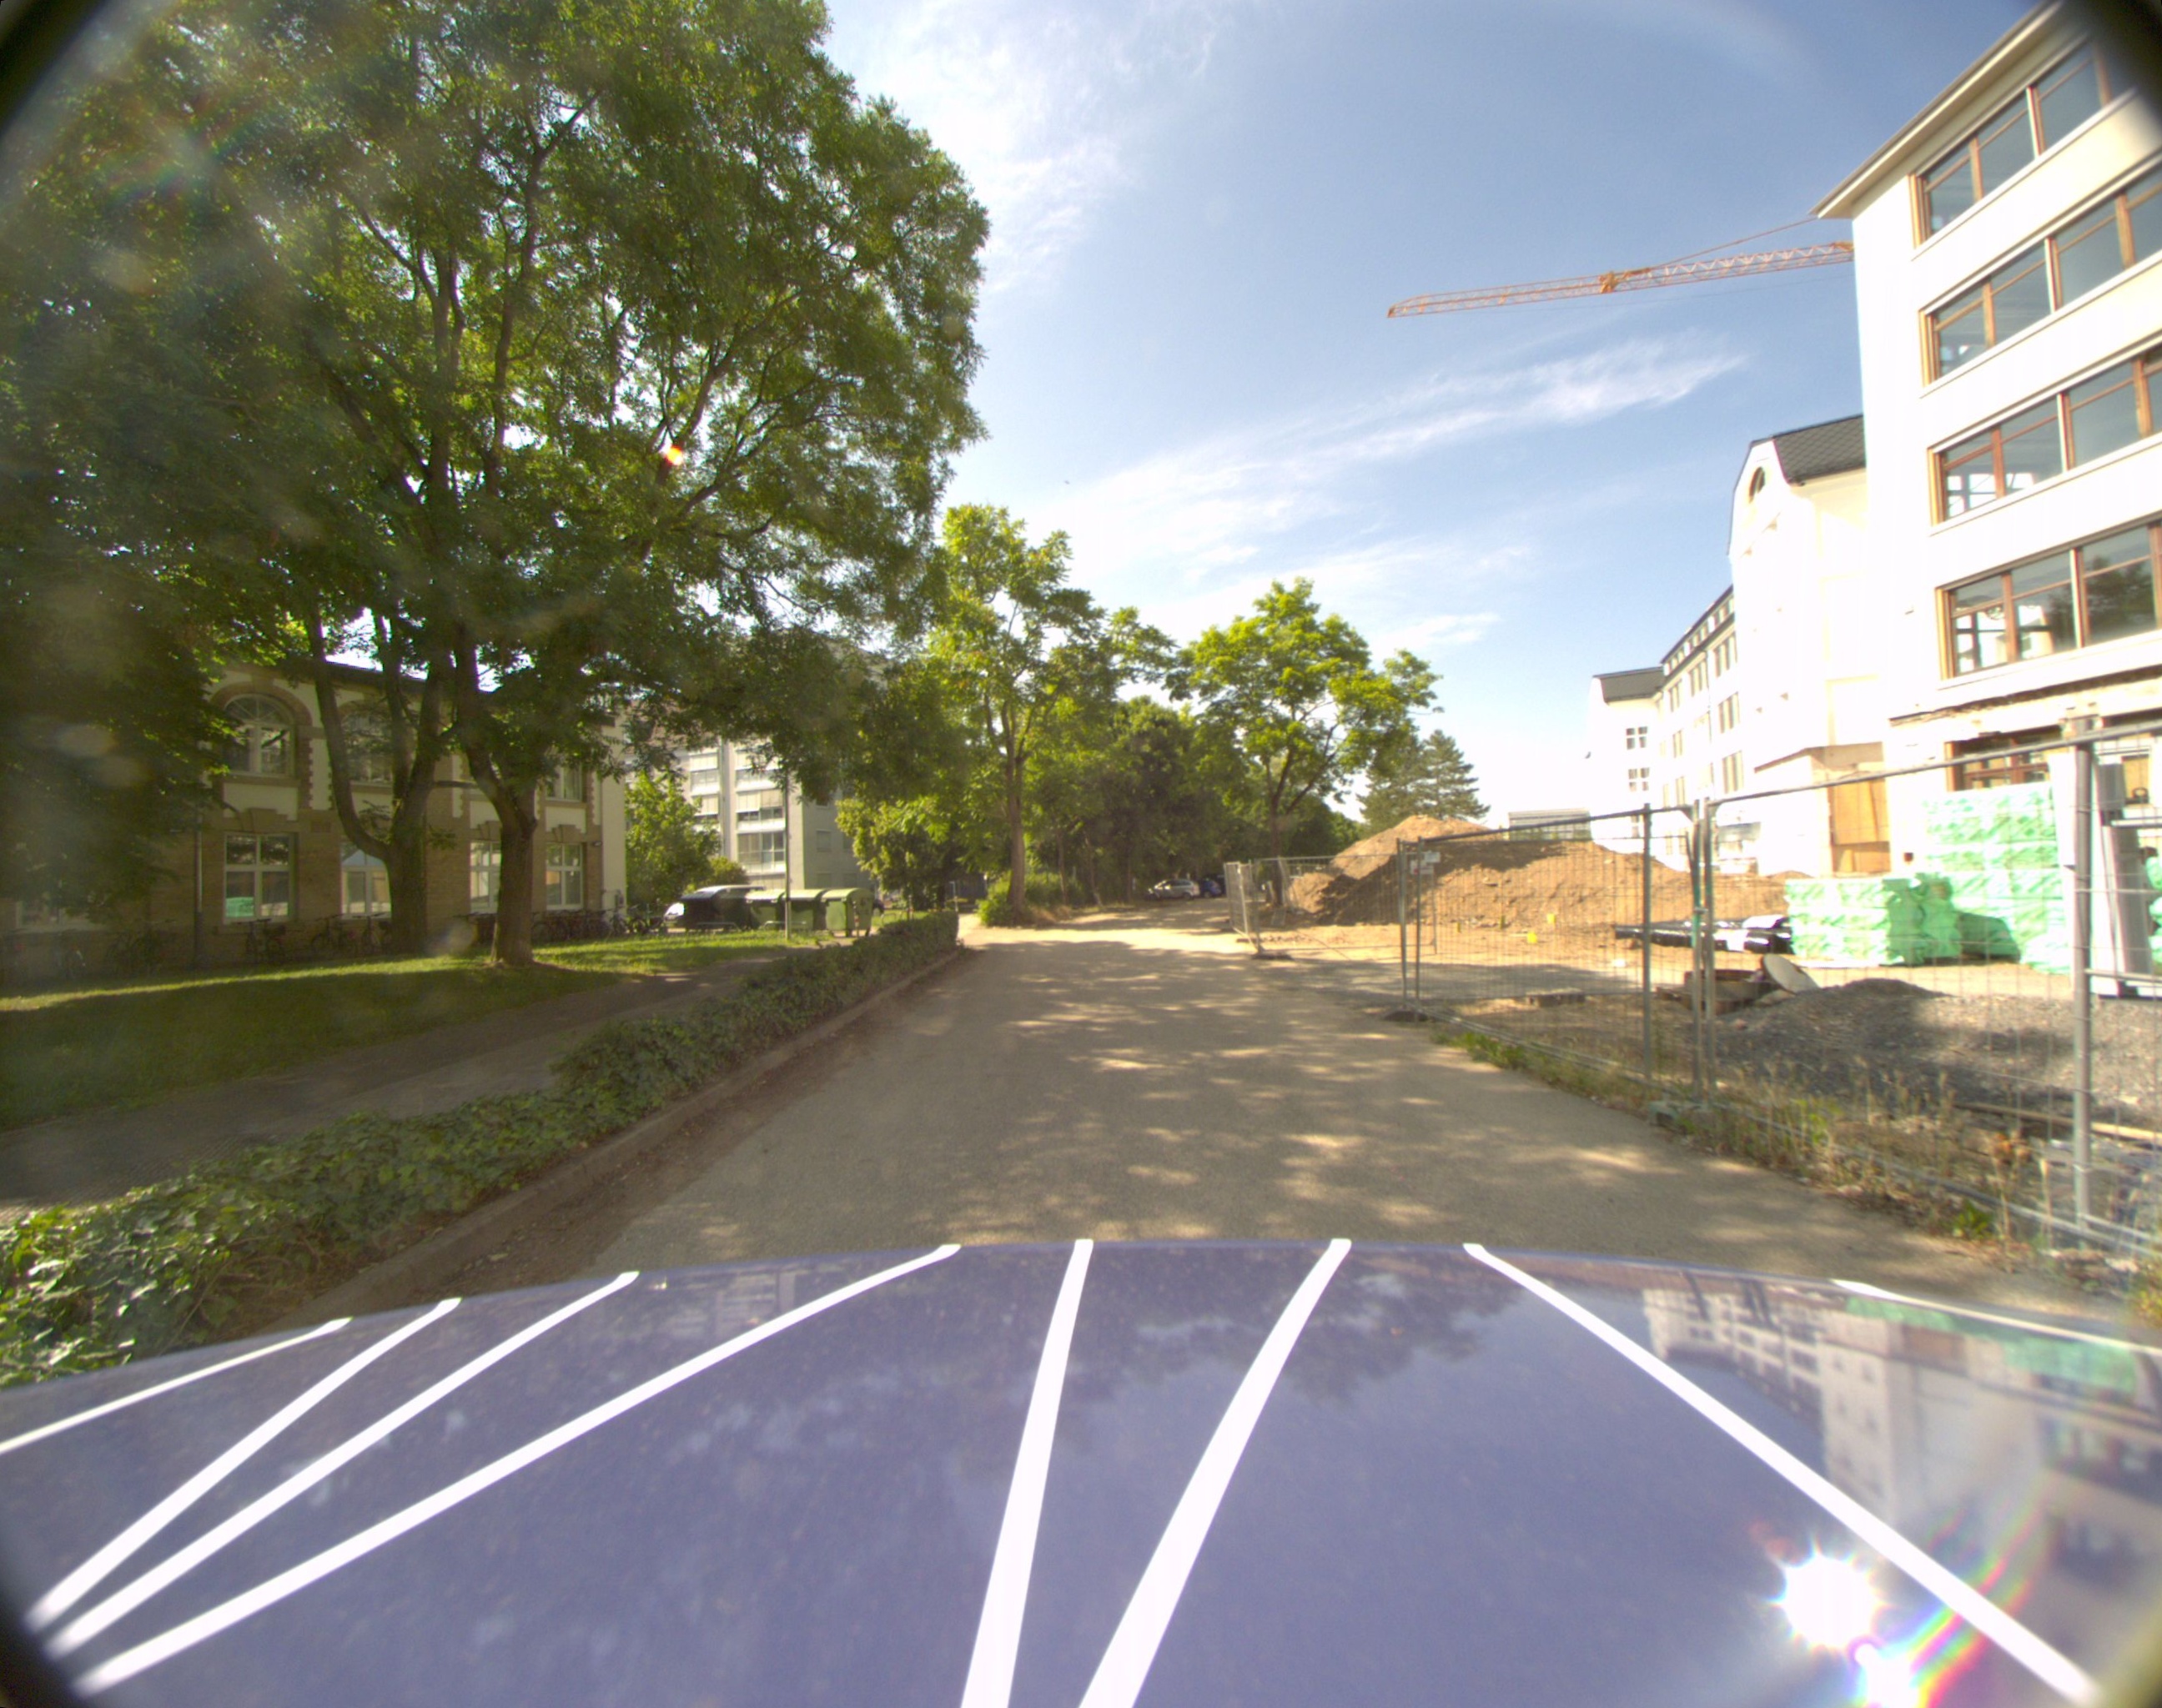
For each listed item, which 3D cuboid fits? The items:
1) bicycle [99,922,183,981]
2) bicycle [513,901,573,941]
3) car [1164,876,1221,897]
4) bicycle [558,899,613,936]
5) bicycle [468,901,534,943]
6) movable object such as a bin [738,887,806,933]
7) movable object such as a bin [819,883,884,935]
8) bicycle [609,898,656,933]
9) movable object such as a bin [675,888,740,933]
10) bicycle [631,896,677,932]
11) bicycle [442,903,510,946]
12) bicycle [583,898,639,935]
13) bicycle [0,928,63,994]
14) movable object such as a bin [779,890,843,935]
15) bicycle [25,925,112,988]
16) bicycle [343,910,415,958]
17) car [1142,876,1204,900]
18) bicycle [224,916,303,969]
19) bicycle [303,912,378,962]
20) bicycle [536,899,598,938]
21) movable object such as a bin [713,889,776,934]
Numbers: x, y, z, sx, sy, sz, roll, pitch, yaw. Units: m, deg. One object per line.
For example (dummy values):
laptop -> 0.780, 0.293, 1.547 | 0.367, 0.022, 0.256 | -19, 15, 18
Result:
bicycle -> -19.911, 2.048, 16.092 | 2.097, 1.154, 0.589 | -3, -1, 24
bicycle -> -16.397, 2.043, 23.149 | 1.917, 1.154, 0.589 | -3, -1, 24
car -> 8.641, 2.515, 58.785 | 3.991, 1.433, 2.003 | -2, -2, 19
bicycle -> -15.895, 2.043, 24.376 | 1.909, 1.154, 0.495 | -3, -1, 24
bicycle -> -16.950, 1.994, 22.197 | 2.097, 1.154, 0.589 | -3, -1, 24
movable object such as a bin -> -9.637, 1.739, 23.750 | 1.499, 1.353, 1.217 | -2, -1, 21
movable object such as a bin -> -6.849, 1.619, 22.663 | 1.389, 1.454, 1.218 | -3, -1, 36
bicycle -> -15.175, 2.080, 25.710 | 1.800, 1.154, 0.508 | -3, -1, 29
movable object such as a bin -> -12.361, 1.853, 25.178 | 1.433, 1.401, 1.252 | -2, -1, 20
bicycle -> -14.705, 2.064, 26.148 | 1.940, 1.154, 0.558 | -3, -1, 34
bicycle -> -17.177, 1.991, 21.563 | 2.097, 1.154, 0.589 | -3, -1, 24
bicycle -> -15.584, 2.070, 25.183 | 1.847, 1.154, 0.614 | -3, -1, 24
bicycle -> -20.500, 2.039, 14.649 | 2.097, 1.154, 0.589 | -3, -1, 24
movable object such as a bin -> -8.239, 1.771, 23.232 | 1.352, 1.292, 1.217 | -2, -1, 21
bicycle -> -20.355, 2.036, 15.268 | 2.097, 1.154, 0.589 | -3, -1, 24
bicycle -> -18.188, 2.056, 19.673 | 2.097, 1.154, 0.589 | -3, -1, 24
car -> 6.524, 2.407, 53.822 | 3.991, 1.499, 2.003 | -2, -2, 19
bicycle -> -19.077, 2.042, 17.724 | 2.097, 1.154, 0.589 | -3, -1, 24
bicycle -> -18.477, 2.056, 18.951 | 2.097, 1.154, 0.589 | -3, -1, 24
bicycle -> -16.152, 2.028, 23.862 | 2.097, 1.154, 0.589 | -3, -1, 24
movable object such as a bin -> -10.888, 1.856, 24.631 | 1.349, 1.341, 1.217 | -2, -1, 21
